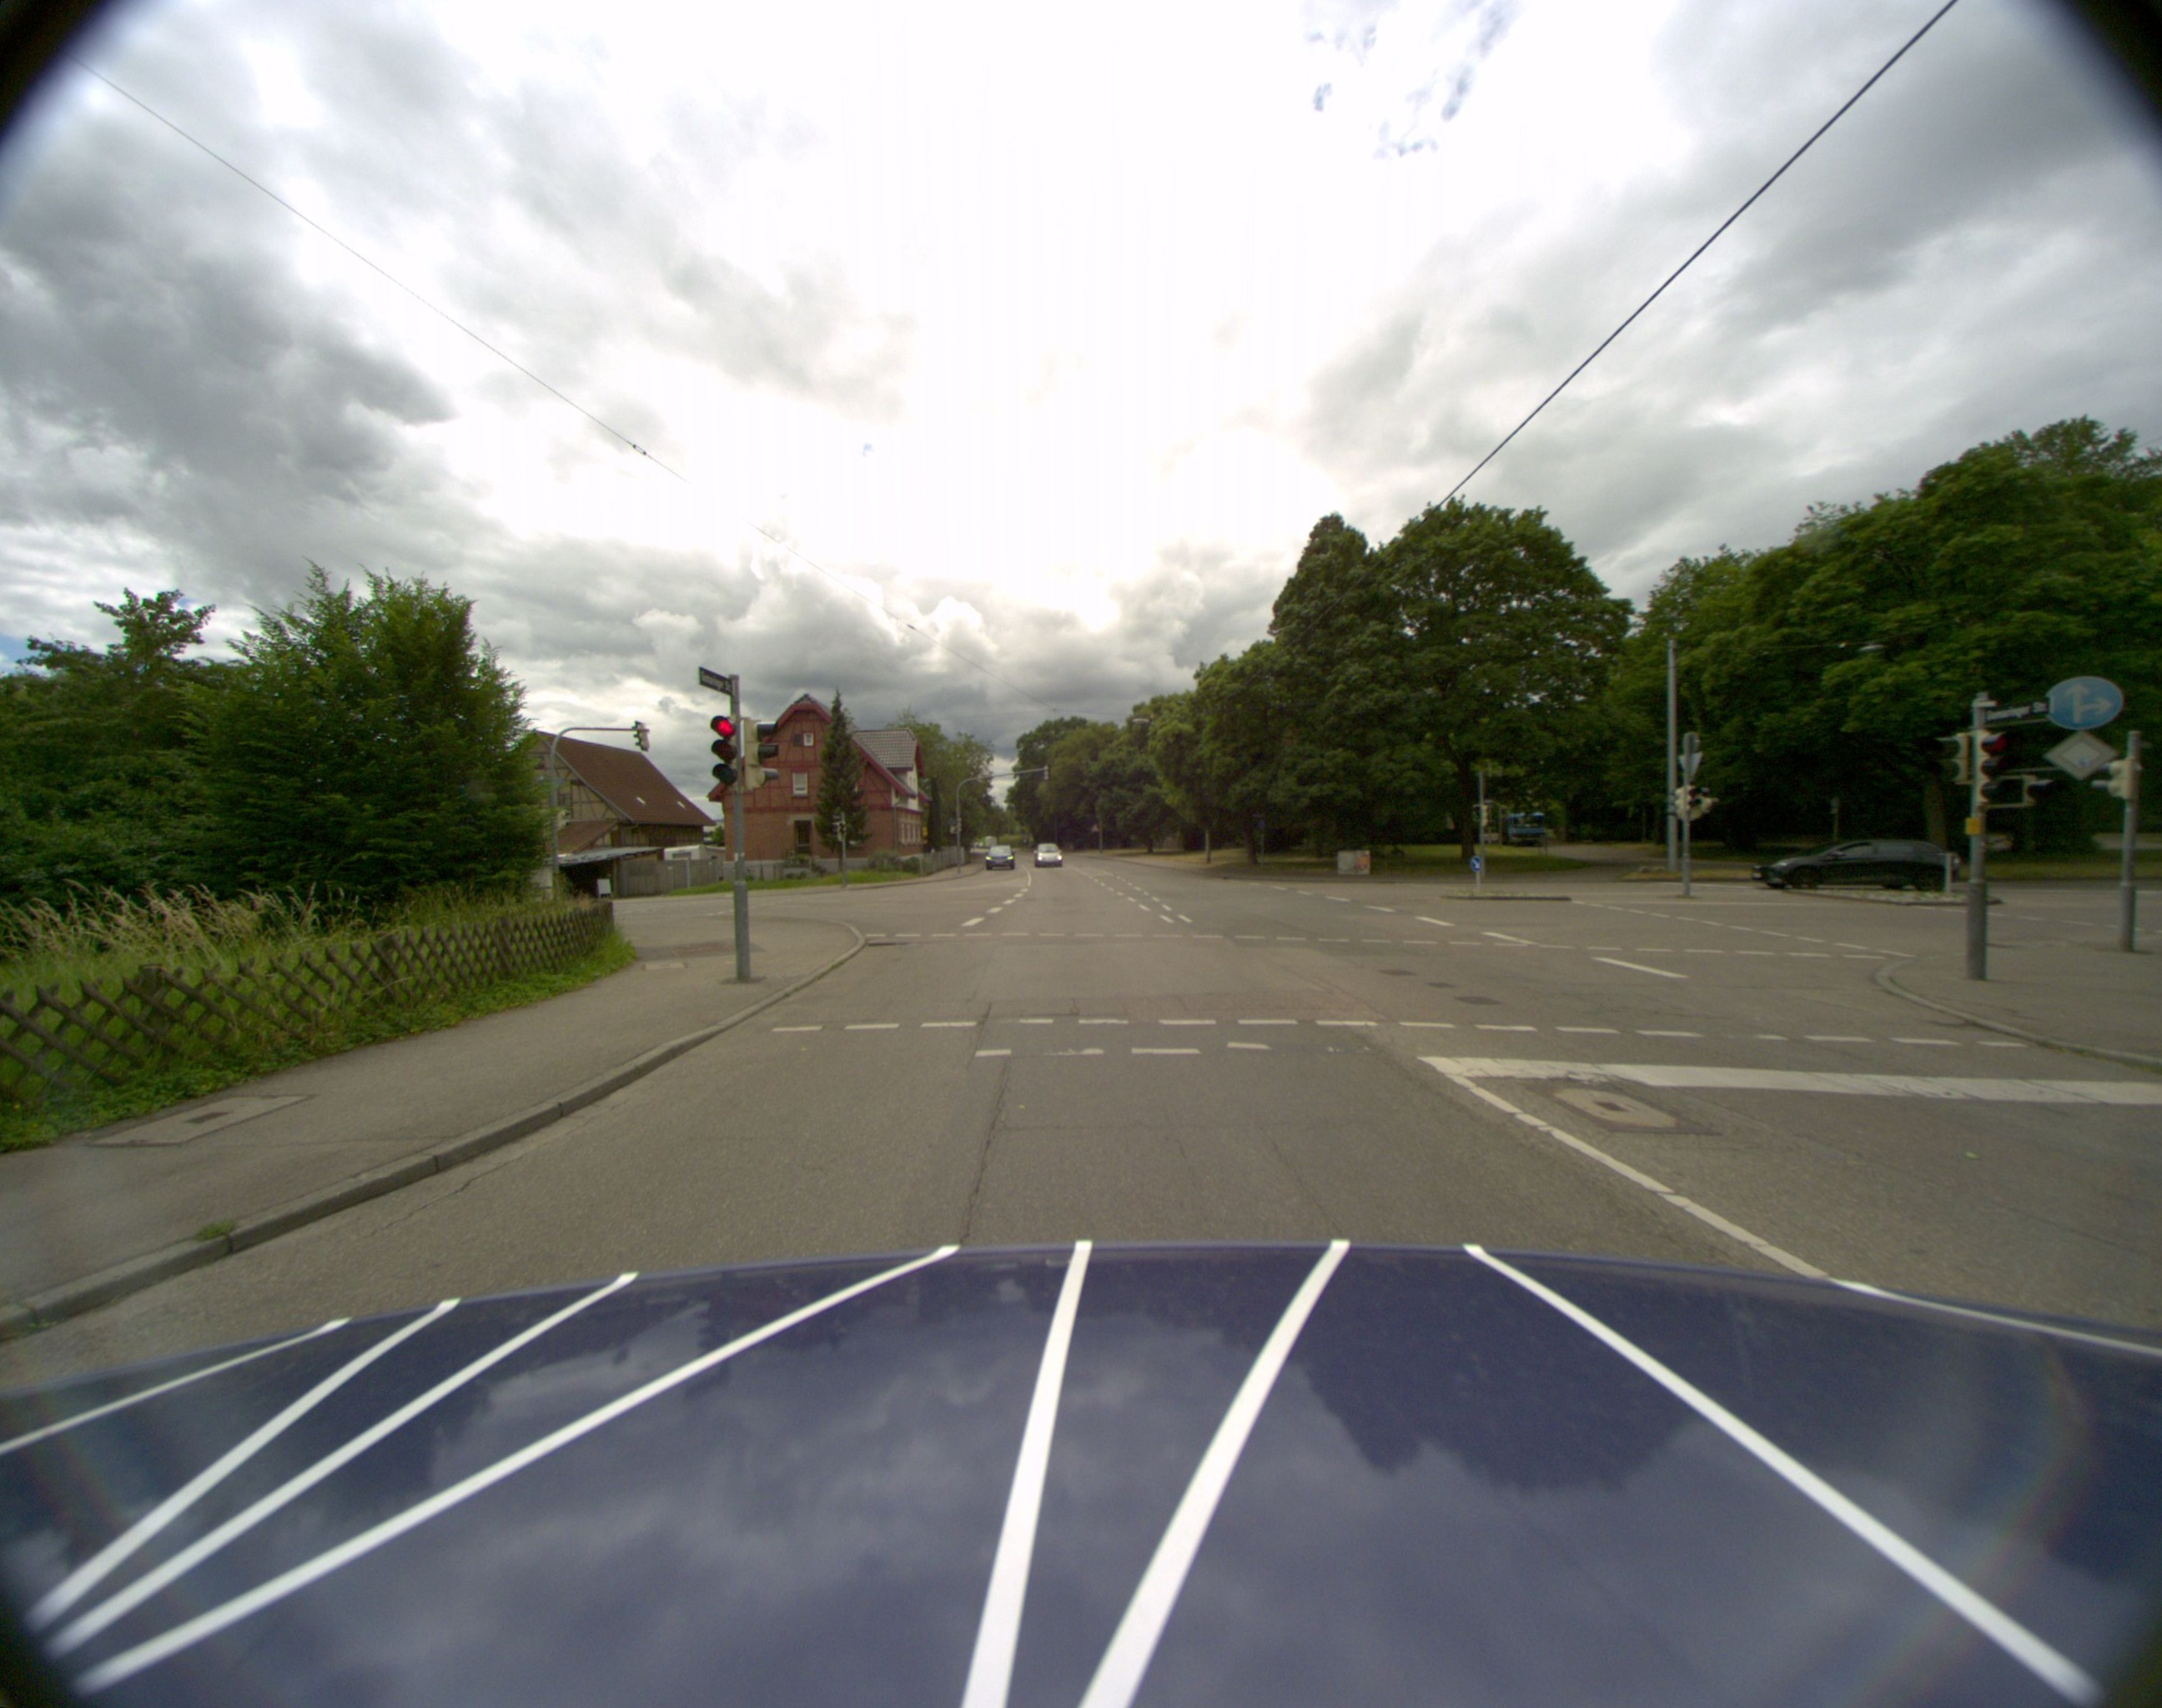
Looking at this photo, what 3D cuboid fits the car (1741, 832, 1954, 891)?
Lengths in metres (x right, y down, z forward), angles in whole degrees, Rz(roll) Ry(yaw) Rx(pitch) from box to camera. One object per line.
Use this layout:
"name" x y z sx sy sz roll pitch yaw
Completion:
"car" 22.578 0.210 22.625 3.991 1.609 2.002 -1 2 21

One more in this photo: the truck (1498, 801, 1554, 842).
"truck" 33.715 -2.441 57.824 2.477 2.831 7.442 0 2 21

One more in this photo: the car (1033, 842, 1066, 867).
"car" -2.203 -0.014 52.526 1.781 1.510 3.553 -3 2 -9

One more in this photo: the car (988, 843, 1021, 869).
"car" -4.958 0.098 49.793 1.927 1.510 3.997 -2 2 -3
